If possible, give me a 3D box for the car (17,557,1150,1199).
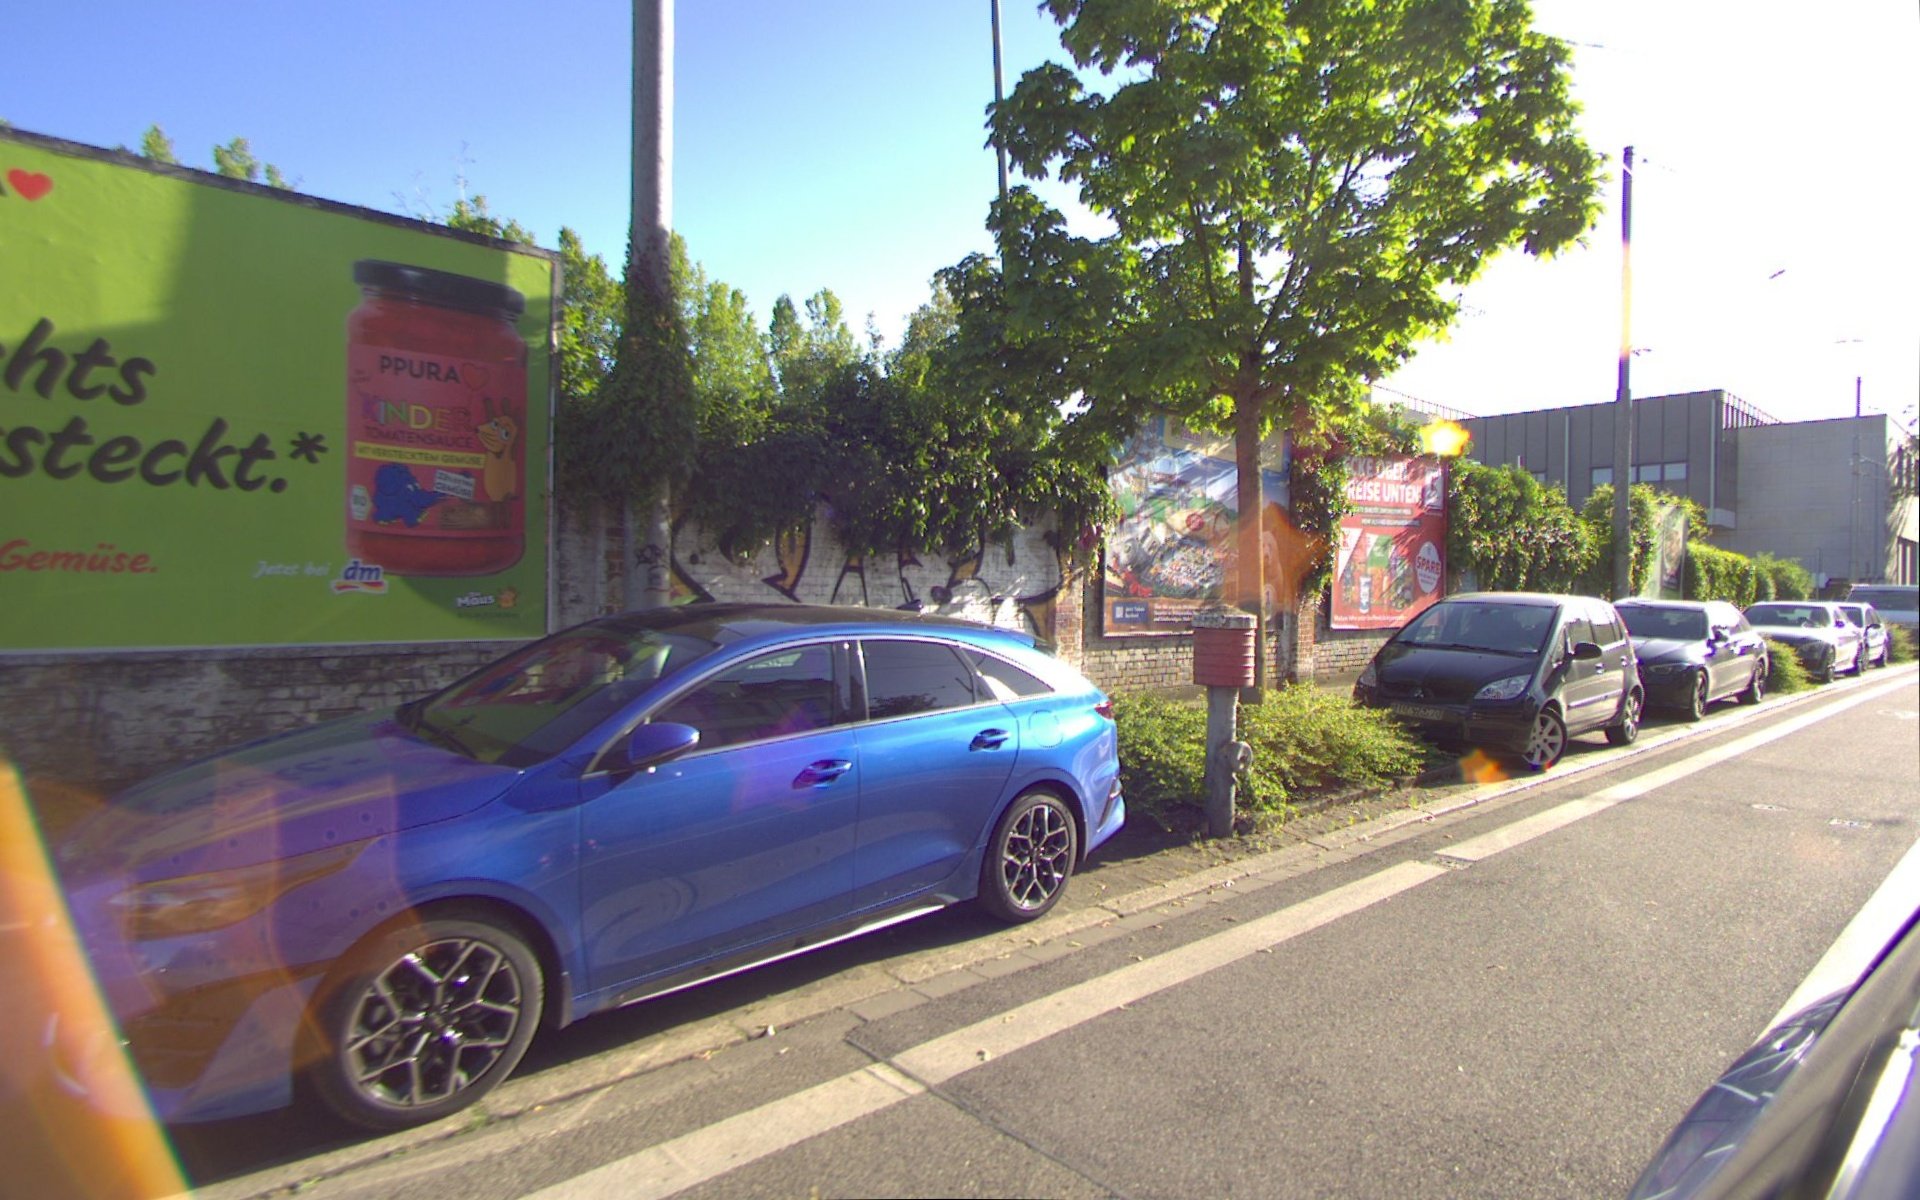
[{"bbox_3d":[-1.159,0.621,4.389,4.268,1.482,1.729,-1,0,-43],"label":"car"}]

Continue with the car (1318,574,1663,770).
[{"bbox_3d":[5.376,0.545,10.070,3.750,1.511,1.827,-1,3,-42],"label":"car"}]

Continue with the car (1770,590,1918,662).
[{"bbox_3d":[20.350,0.526,23.263,4.001,1.491,1.877,-1,0,-39],"label":"car"}]

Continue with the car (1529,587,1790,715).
[{"bbox_3d":[9.776,0.572,13.998,4.559,1.470,1.828,-1,2,-40],"label":"car"}]

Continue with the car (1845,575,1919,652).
[{"bbox_3d":[26.659,0.322,28.394,5.147,2.016,1.859,-1,1,-39],"label":"car"}]

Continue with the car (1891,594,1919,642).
[{"bbox_3d":[31.596,0.588,32.787,4.426,1.435,1.678,-1,3,-42],"label":"car"}]

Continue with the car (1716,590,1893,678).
[{"bbox_3d":[16.347,0.570,19.510,4.519,1.503,1.828,-1,0,-40],"label":"car"}]
